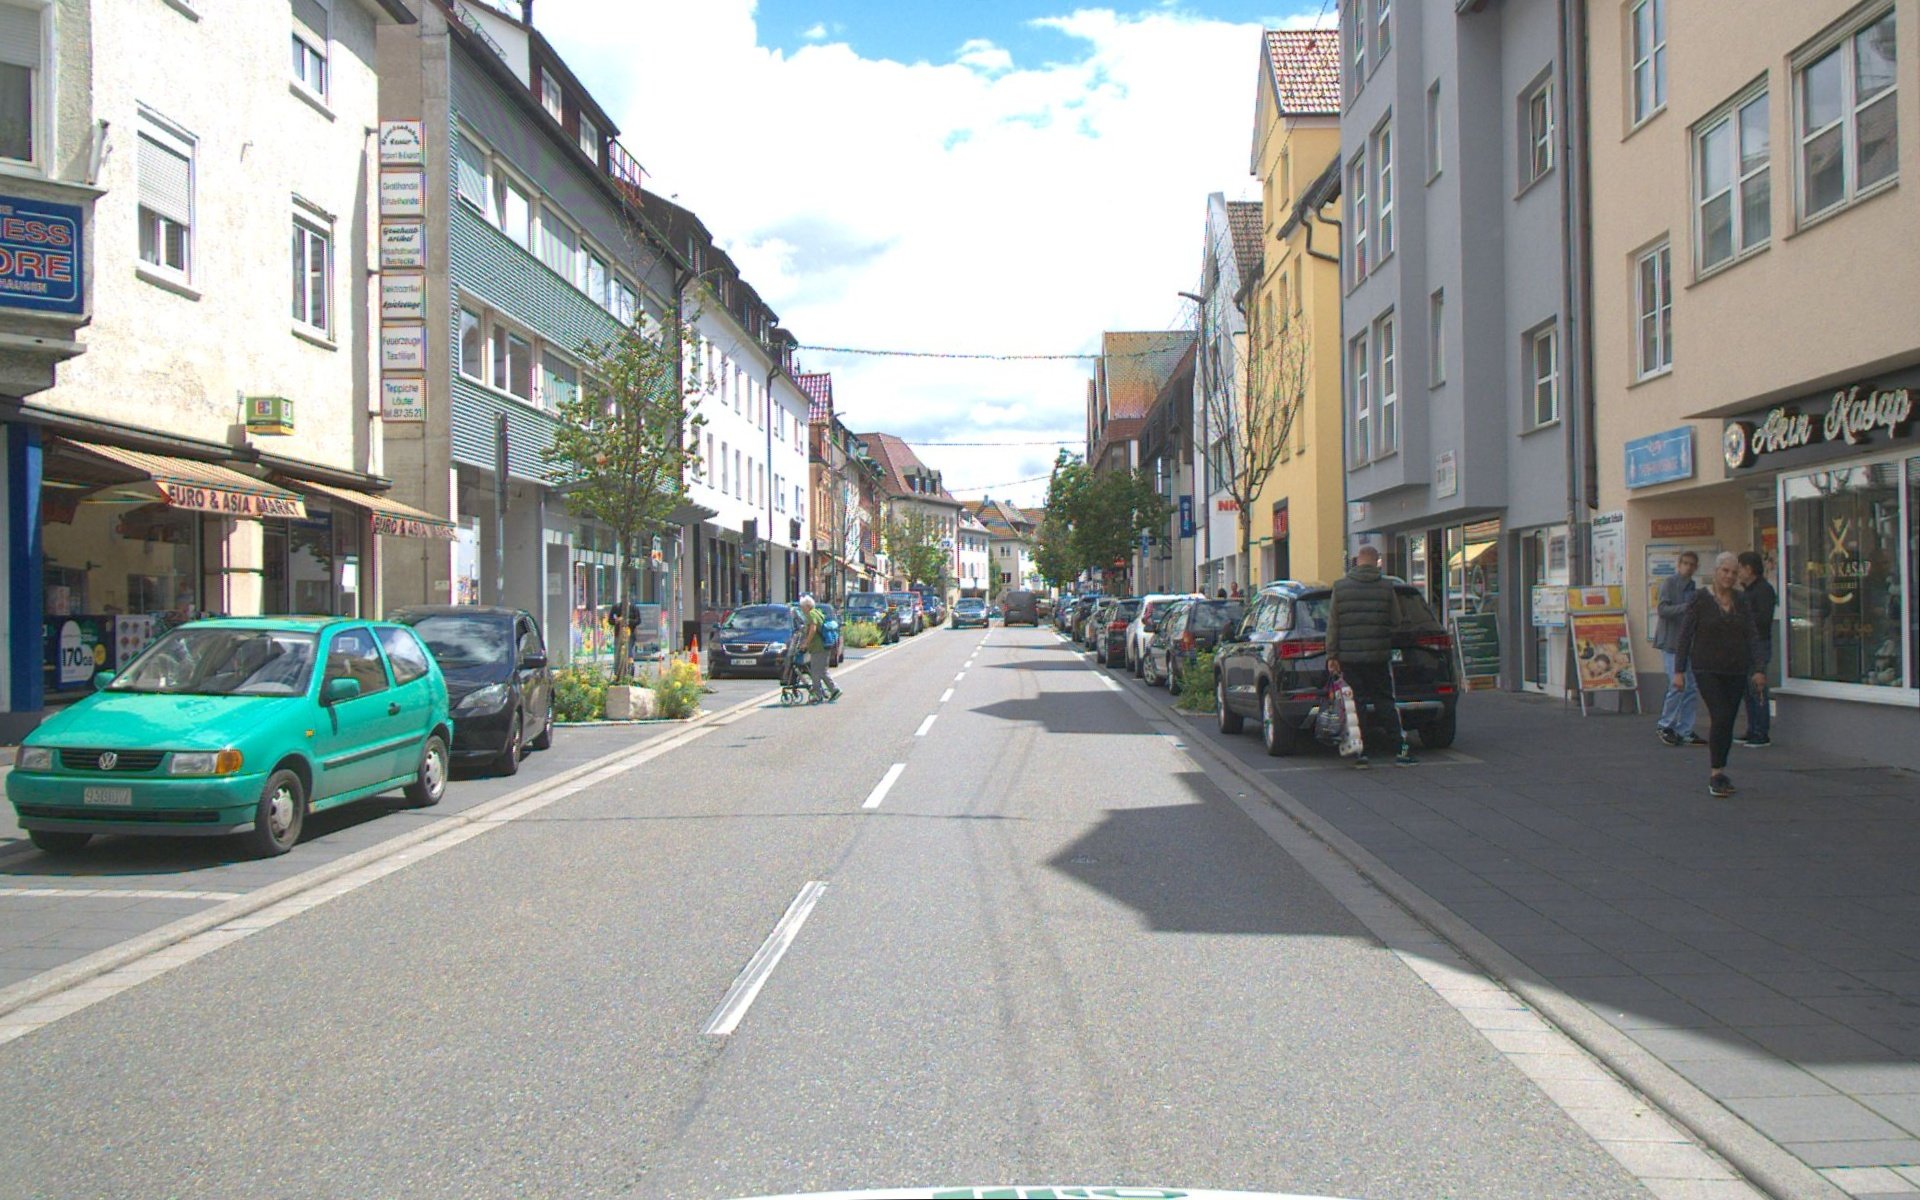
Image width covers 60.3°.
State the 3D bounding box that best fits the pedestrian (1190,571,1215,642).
[{"bbox_3d":[6.413,0.169,43.794,0.575,1.873,0.576,1,-1,2],"label":"pedestrian"}]

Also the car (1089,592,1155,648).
[{"bbox_3d":[4.619,0.571,47.561,1.685,1.501,4.356,1,-1,3],"label":"car"}]

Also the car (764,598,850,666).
[{"bbox_3d":[-3.652,0.735,39.995,1.754,1.529,4.177,1,0,-1],"label":"car"}]

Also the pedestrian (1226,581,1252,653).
[{"bbox_3d":[7.424,0.450,44.017,0.575,1.873,0.576,1,-1,2],"label":"pedestrian"}]

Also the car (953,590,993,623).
[{"bbox_3d":[0.709,0.355,84.595,1.865,1.591,4.647,1,-1,2],"label":"car"}]

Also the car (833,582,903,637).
[{"bbox_3d":[-3.151,0.331,57.396,1.778,1.786,4.671,1,-1,5],"label":"car"}]

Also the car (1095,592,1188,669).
[{"bbox_3d":[3.975,0.630,36.894,1.654,1.497,4.525,1,2,1],"label":"car"}]

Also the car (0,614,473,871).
[{"bbox_3d":[-4.727,0.829,11.276,1.553,1.439,3.669,1,-1,3],"label":"car"}]

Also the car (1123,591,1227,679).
[{"bbox_3d":[4.157,0.660,32.469,1.654,1.601,3.757,1,-1,2],"label":"car"}]

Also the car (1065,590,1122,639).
[{"bbox_3d":[4.547,0.498,56.747,1.686,1.604,4.109,1,-1,1],"label":"car"}]

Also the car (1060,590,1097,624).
[{"bbox_3d":[5.487,0.336,76.929,1.685,1.520,4.110,1,-1,3],"label":"car"}]

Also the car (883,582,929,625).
[{"bbox_3d":[-2.537,0.182,78.331,1.778,1.922,4.842,1,-1,3],"label":"car"}]

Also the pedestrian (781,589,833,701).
[{"bbox_3d":[-2.287,0.675,24.771,0.716,1.646,0.651,1,-1,-3],"label":"pedestrian"}]

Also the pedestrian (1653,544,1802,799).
[{"bbox_3d":[5.427,0.494,11.727,0.728,1.748,0.656,-1,-1,0],"label":"pedestrian"}]

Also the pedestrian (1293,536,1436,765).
[{"bbox_3d":[3.504,0.431,14.404,0.955,1.896,0.864,-2,-1,0],"label":"pedestrian"}]

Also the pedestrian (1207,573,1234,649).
[{"bbox_3d":[6.438,0.273,40.929,0.575,1.873,0.576,1,-1,2],"label":"pedestrian"}]

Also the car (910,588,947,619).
[{"bbox_3d":[-1.707,0.178,91.033,1.762,1.626,4.390,0,0,2],"label":"car"}]

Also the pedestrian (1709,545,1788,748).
[{"bbox_3d":[6.944,0.403,14.586,0.427,1.748,0.537,1,-1,-1],"label":"pedestrian"}]

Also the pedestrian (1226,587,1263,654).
[{"bbox_3d":[6.782,0.486,39.484,0.734,1.580,0.726,-1,-1,1],"label":"pedestrian"}]

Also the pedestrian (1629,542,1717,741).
[{"bbox_3d":[6.406,0.369,14.871,0.524,1.748,0.606,1,-1,0],"label":"pedestrian"}]

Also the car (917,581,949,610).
[{"bbox_3d":[-1.584,-0.286,96.680,1.763,1.632,4.350,-1,0,-1],"label":"car"}]

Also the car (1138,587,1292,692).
[{"bbox_3d":[3.995,0.598,26.529,1.655,1.465,4.294,-3,0,-1],"label":"car"}]

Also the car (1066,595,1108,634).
[{"bbox_3d":[5.458,0.632,71.462,1.685,1.604,4.430,1,-1,3],"label":"car"}]

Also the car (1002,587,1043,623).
[{"bbox_3d":[3.333,0.285,88.930,1.999,1.881,4.999,1,-1,0],"label":"car"}]

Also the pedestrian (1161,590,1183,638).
[{"bbox_3d":[7.850,0.530,61.347,0.726,1.767,0.757,1,-1,2],"label":"pedestrian"}]

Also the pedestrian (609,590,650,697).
[{"bbox_3d":[-5.610,0.736,28.074,0.537,1.788,0.728,1,-1,-1],"label":"pedestrian"}]

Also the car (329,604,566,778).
[{"bbox_3d":[-4.780,0.794,15.856,1.567,1.471,3.551,1,-1,-8],"label":"car"}]

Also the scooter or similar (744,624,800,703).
[{"bbox_3d":[-2.809,0.944,24.741,0.766,1.145,0.630,1,-1,-3],"label":"scooter or similar"}]

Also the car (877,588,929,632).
[{"bbox_3d":[-2.377,0.449,70.449,1.778,1.786,4.465,1,-1,3],"label":"car"}]

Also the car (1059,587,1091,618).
[{"bbox_3d":[6.090,0.124,87.809,1.576,1.559,3.796,-2,0,3],"label":"car"}]

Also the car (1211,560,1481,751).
[{"bbox_3d":[3.773,0.480,16.893,1.762,1.631,4.204,-2,0,1],"label":"car"}]

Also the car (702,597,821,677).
[{"bbox_3d":[-4.054,0.719,34.431,1.753,1.539,4.713,0,0,2],"label":"car"}]
